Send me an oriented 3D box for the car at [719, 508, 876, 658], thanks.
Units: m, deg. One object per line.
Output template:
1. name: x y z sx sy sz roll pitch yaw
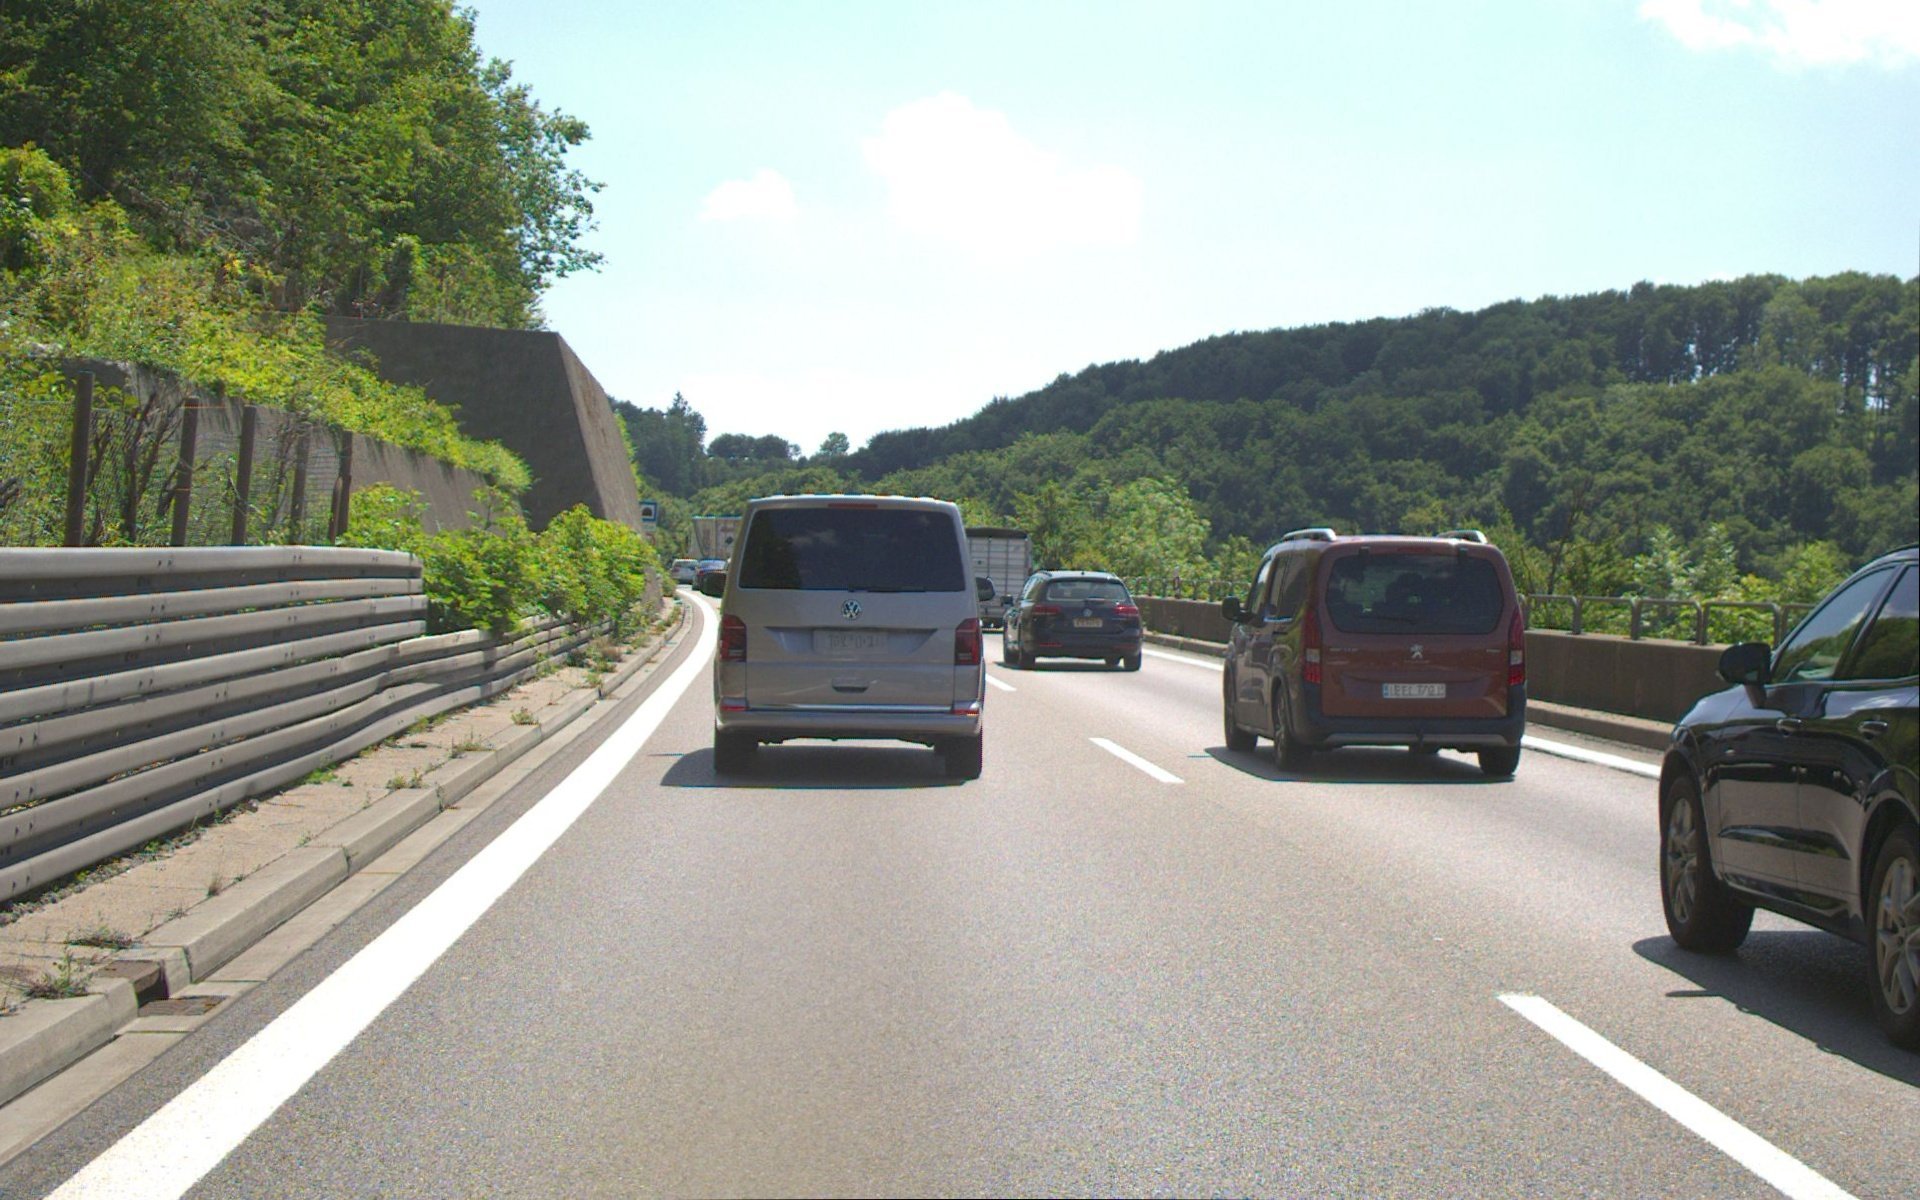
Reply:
1. car: -2.235 -0.248 48.174 1.993 2.007 4.000 0 0 0

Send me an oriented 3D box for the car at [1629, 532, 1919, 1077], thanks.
1. car: 3.782 0.597 12.015 1.834 1.628 4.663 0 1 -2

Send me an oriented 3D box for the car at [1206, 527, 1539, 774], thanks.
1. car: 3.152 0.360 27.189 1.833 1.778 4.676 0 0 -3

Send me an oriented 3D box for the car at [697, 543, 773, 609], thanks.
1. car: -6.723 -0.730 103.027 1.993 1.908 4.000 1 1 0

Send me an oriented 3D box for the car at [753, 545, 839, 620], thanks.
1. car: -4.191 -0.466 87.160 1.993 1.811 4.001 1 1 -5

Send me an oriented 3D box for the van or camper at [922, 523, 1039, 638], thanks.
1. van or camper: 0.428 -0.461 79.140 2.263 2.542 4.737 0 1 -5

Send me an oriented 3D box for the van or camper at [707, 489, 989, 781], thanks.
1. van or camper: -0.841 0.229 25.144 1.875 1.943 4.294 0 0 -2

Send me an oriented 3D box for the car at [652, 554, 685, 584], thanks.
1. car: -17.261 -1.838 203.283 1.845 1.744 4.001 0 1 -7

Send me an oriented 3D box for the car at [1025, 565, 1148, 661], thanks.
1. car: 1.860 0.172 51.384 1.768 1.371 3.592 0 1 1

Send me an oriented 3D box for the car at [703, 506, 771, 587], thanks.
1. car: -13.812 -3.232 212.751 4.043 4.855 10.110 0 0 -4

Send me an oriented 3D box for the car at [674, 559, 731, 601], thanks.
1. car: -10.114 -0.803 135.094 2.142 1.601 5.079 1 1 -3

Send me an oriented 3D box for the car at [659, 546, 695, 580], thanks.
1. car: -14.909 -1.964 181.329 1.845 1.744 4.001 1 1 -4

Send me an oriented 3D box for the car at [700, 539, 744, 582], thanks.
1. car: -11.303 -1.872 163.302 1.993 2.007 4.000 0 0 -2
